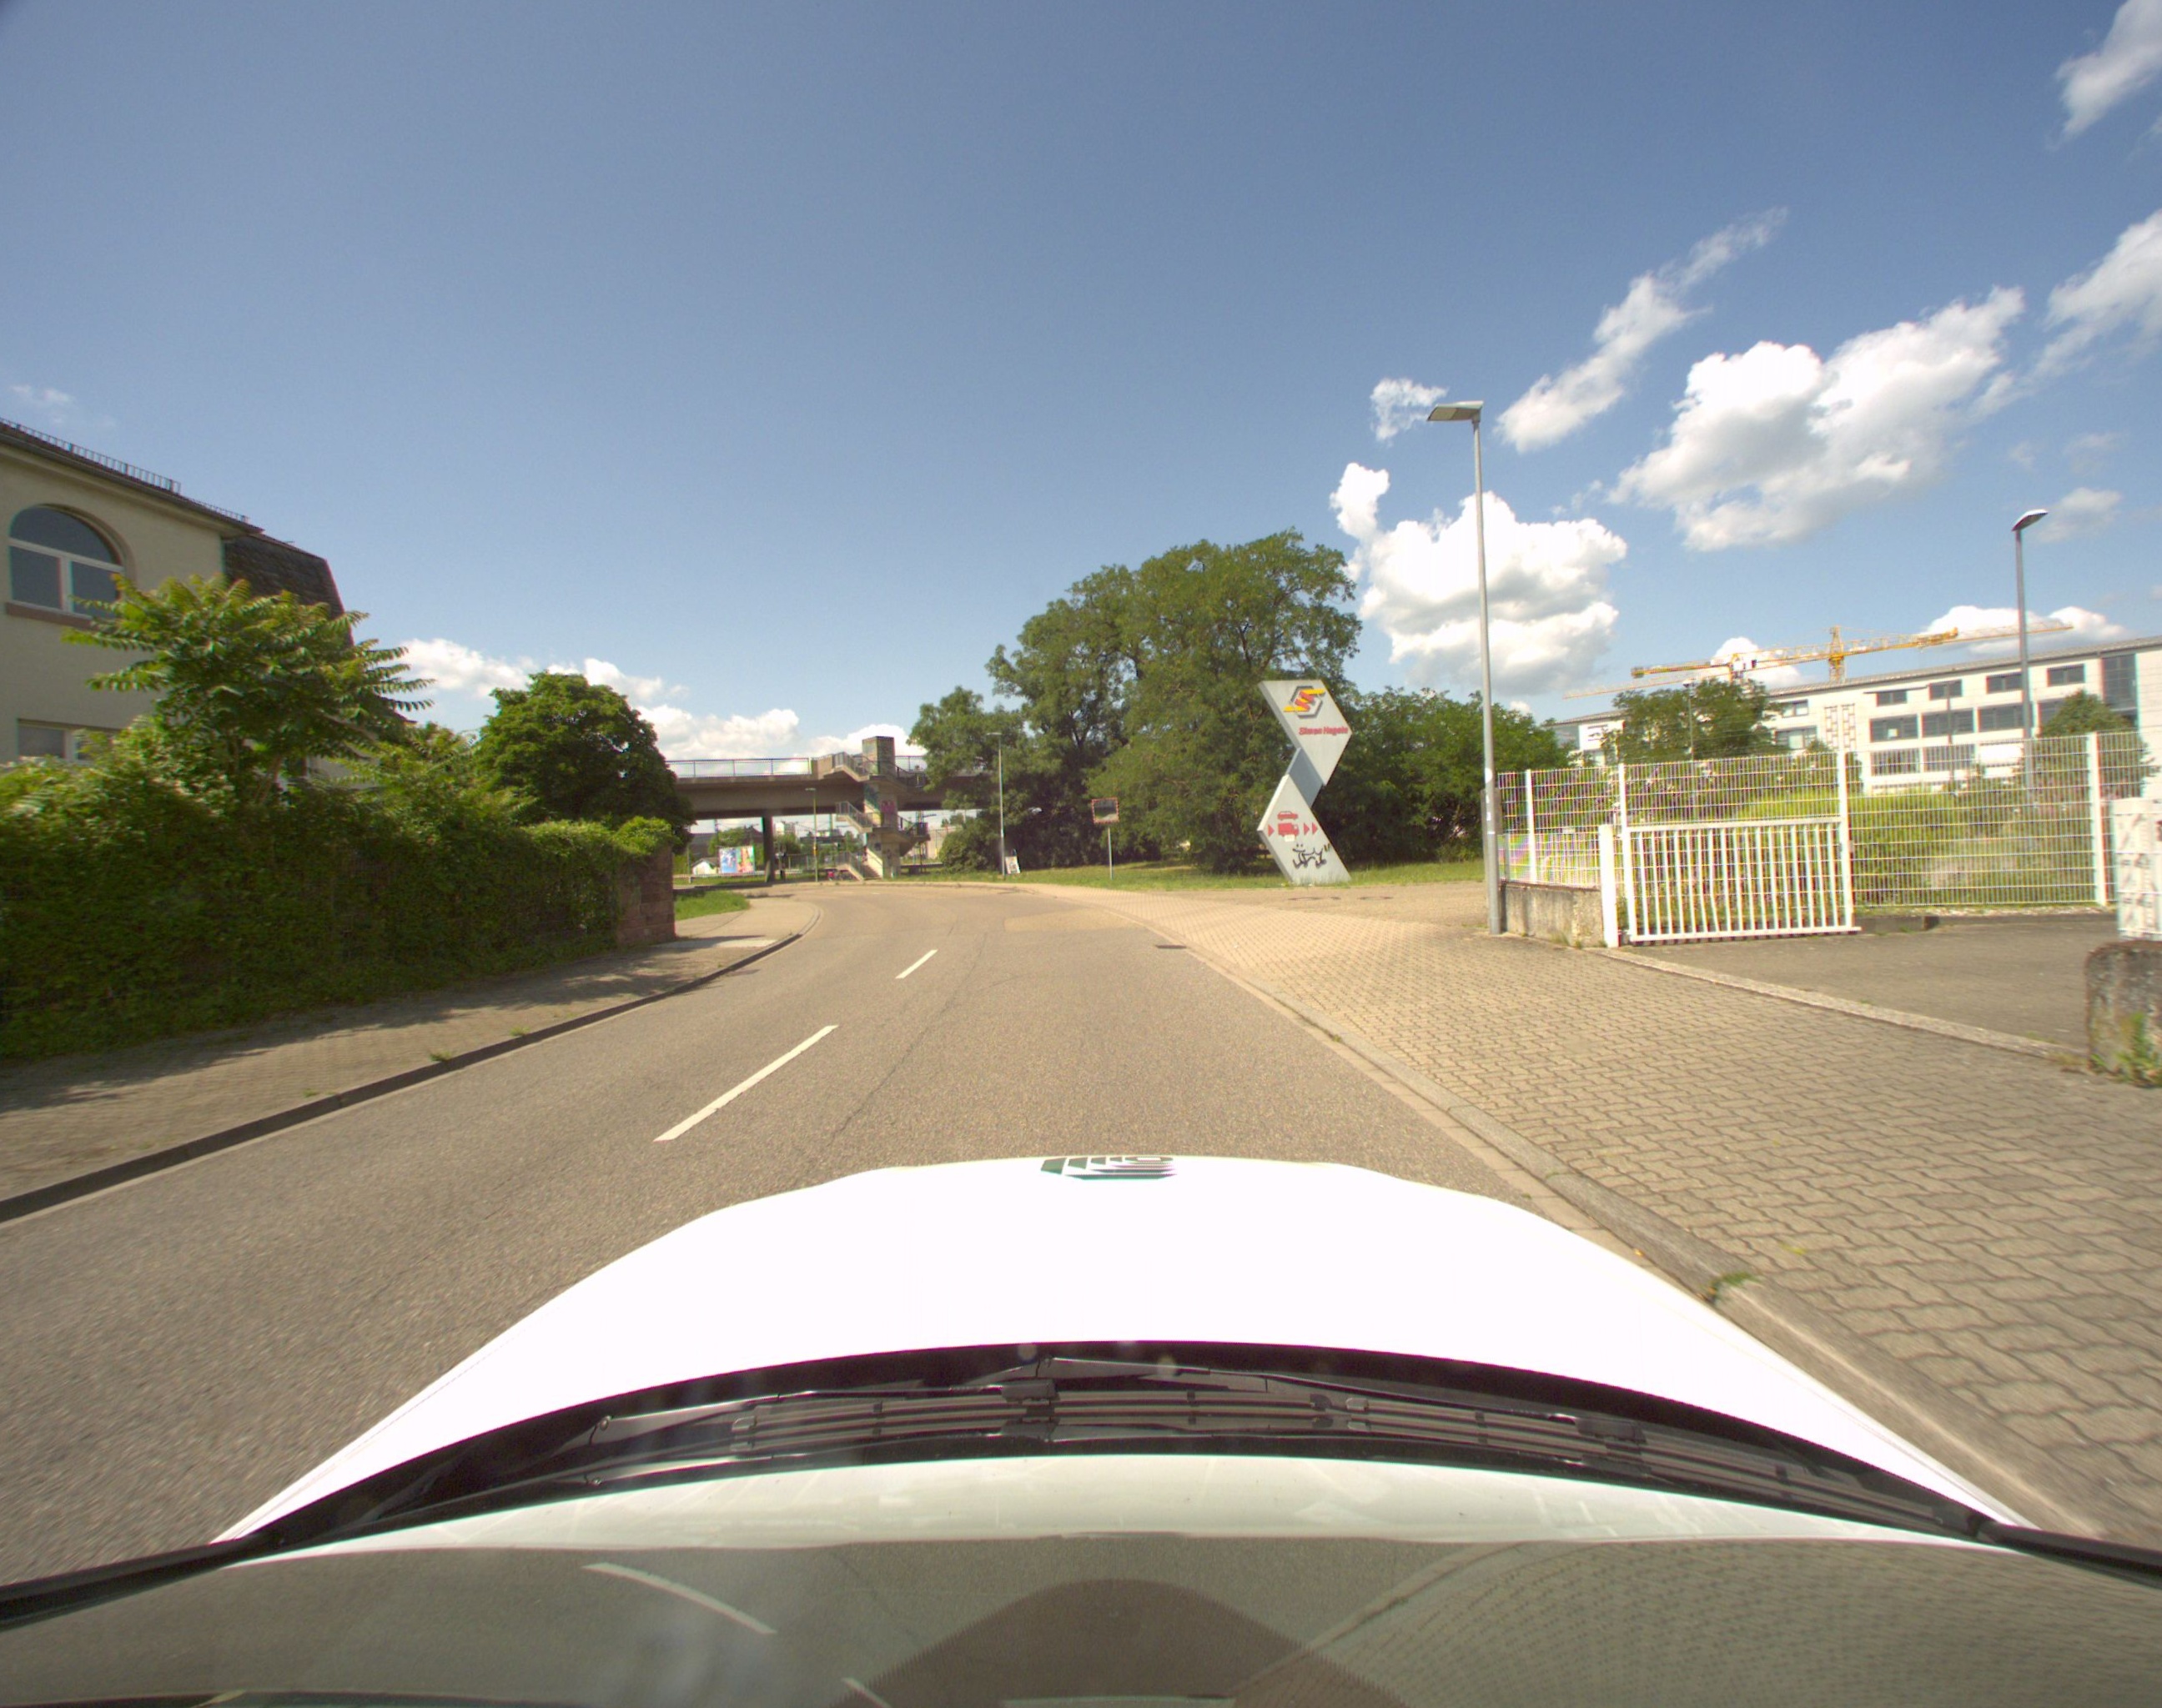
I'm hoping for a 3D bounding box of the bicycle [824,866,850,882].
[{"bbox_3d":[-18.611,1.554,62.140,2.163,1.108,0.649,-3,1,36],"label":"bicycle"}]
